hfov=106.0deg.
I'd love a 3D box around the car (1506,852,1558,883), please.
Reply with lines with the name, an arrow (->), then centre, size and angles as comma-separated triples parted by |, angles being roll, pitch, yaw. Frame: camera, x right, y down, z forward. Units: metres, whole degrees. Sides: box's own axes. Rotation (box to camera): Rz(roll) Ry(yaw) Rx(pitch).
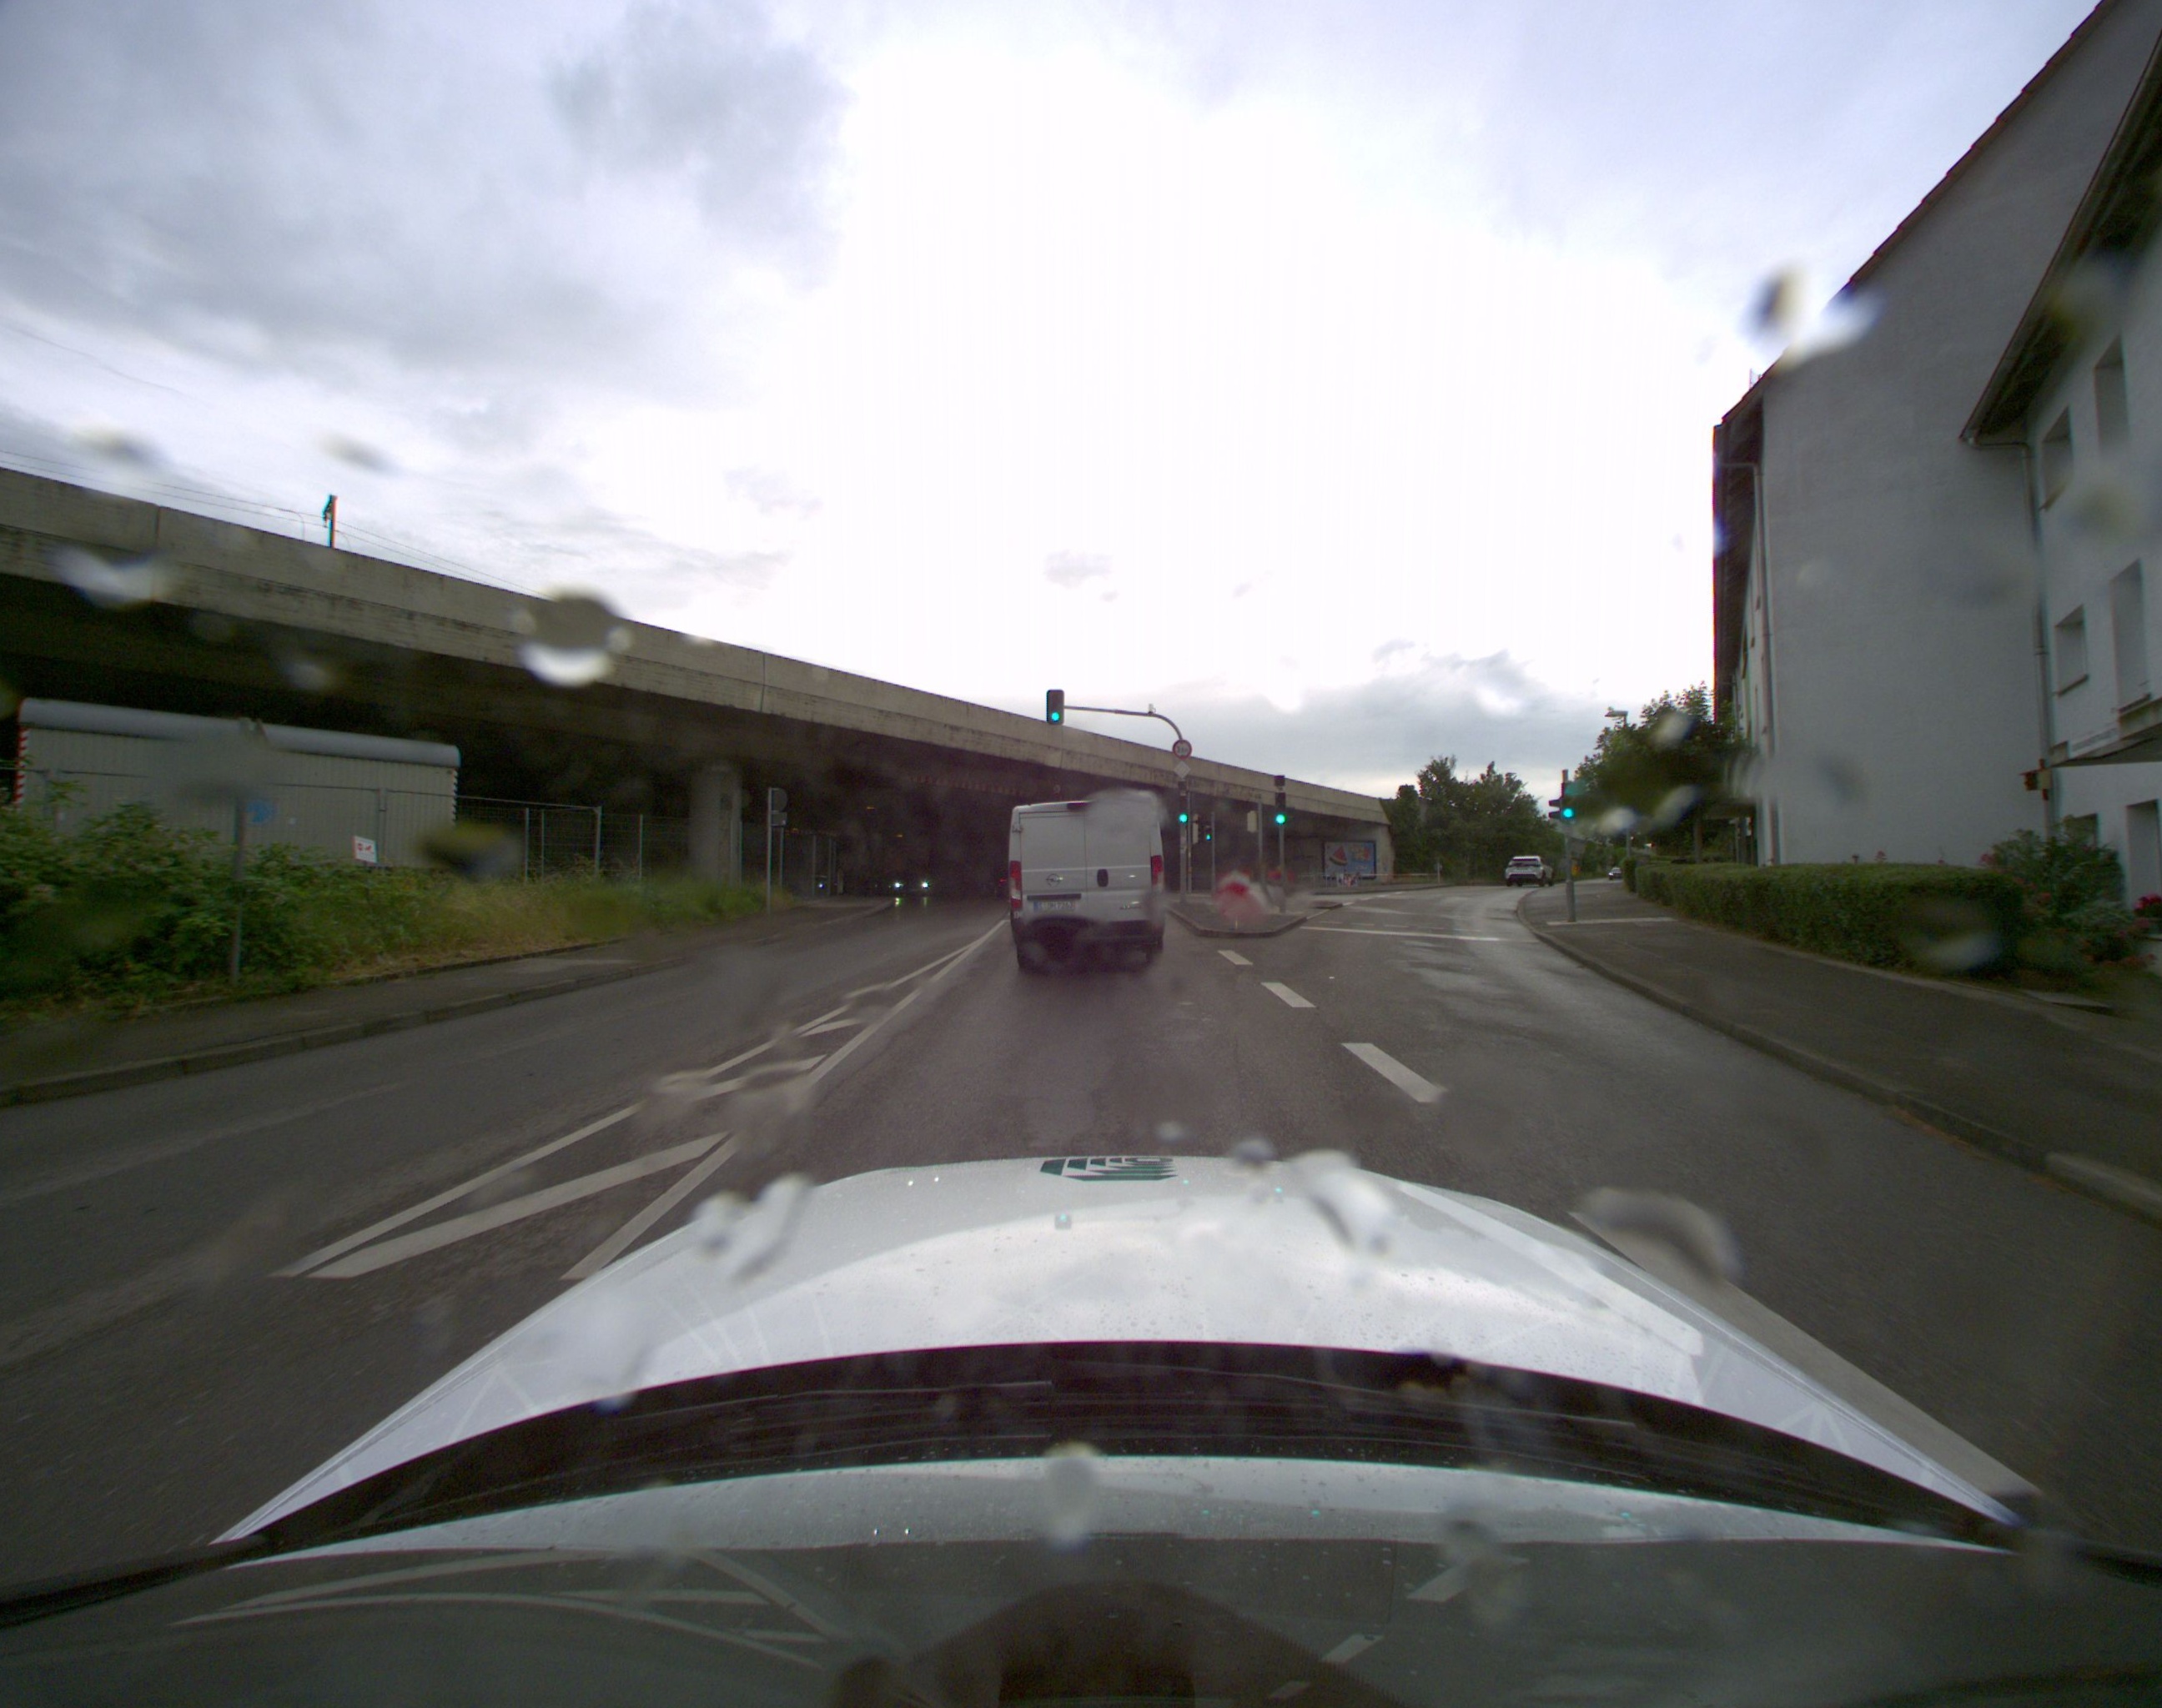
car -> 23.198, 0.686, 41.849 | 1.857, 1.530, 4.025 | 0, -1, 36

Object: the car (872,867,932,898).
car -> -9.873, 1.510, 44.730 | 2.005, 1.530, 4.458 | 1, 0, -29

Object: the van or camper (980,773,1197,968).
van or camper -> 0.140, 0.221, 12.584 | 2.689, 2.417, 4.904 | 0, 0, 1
